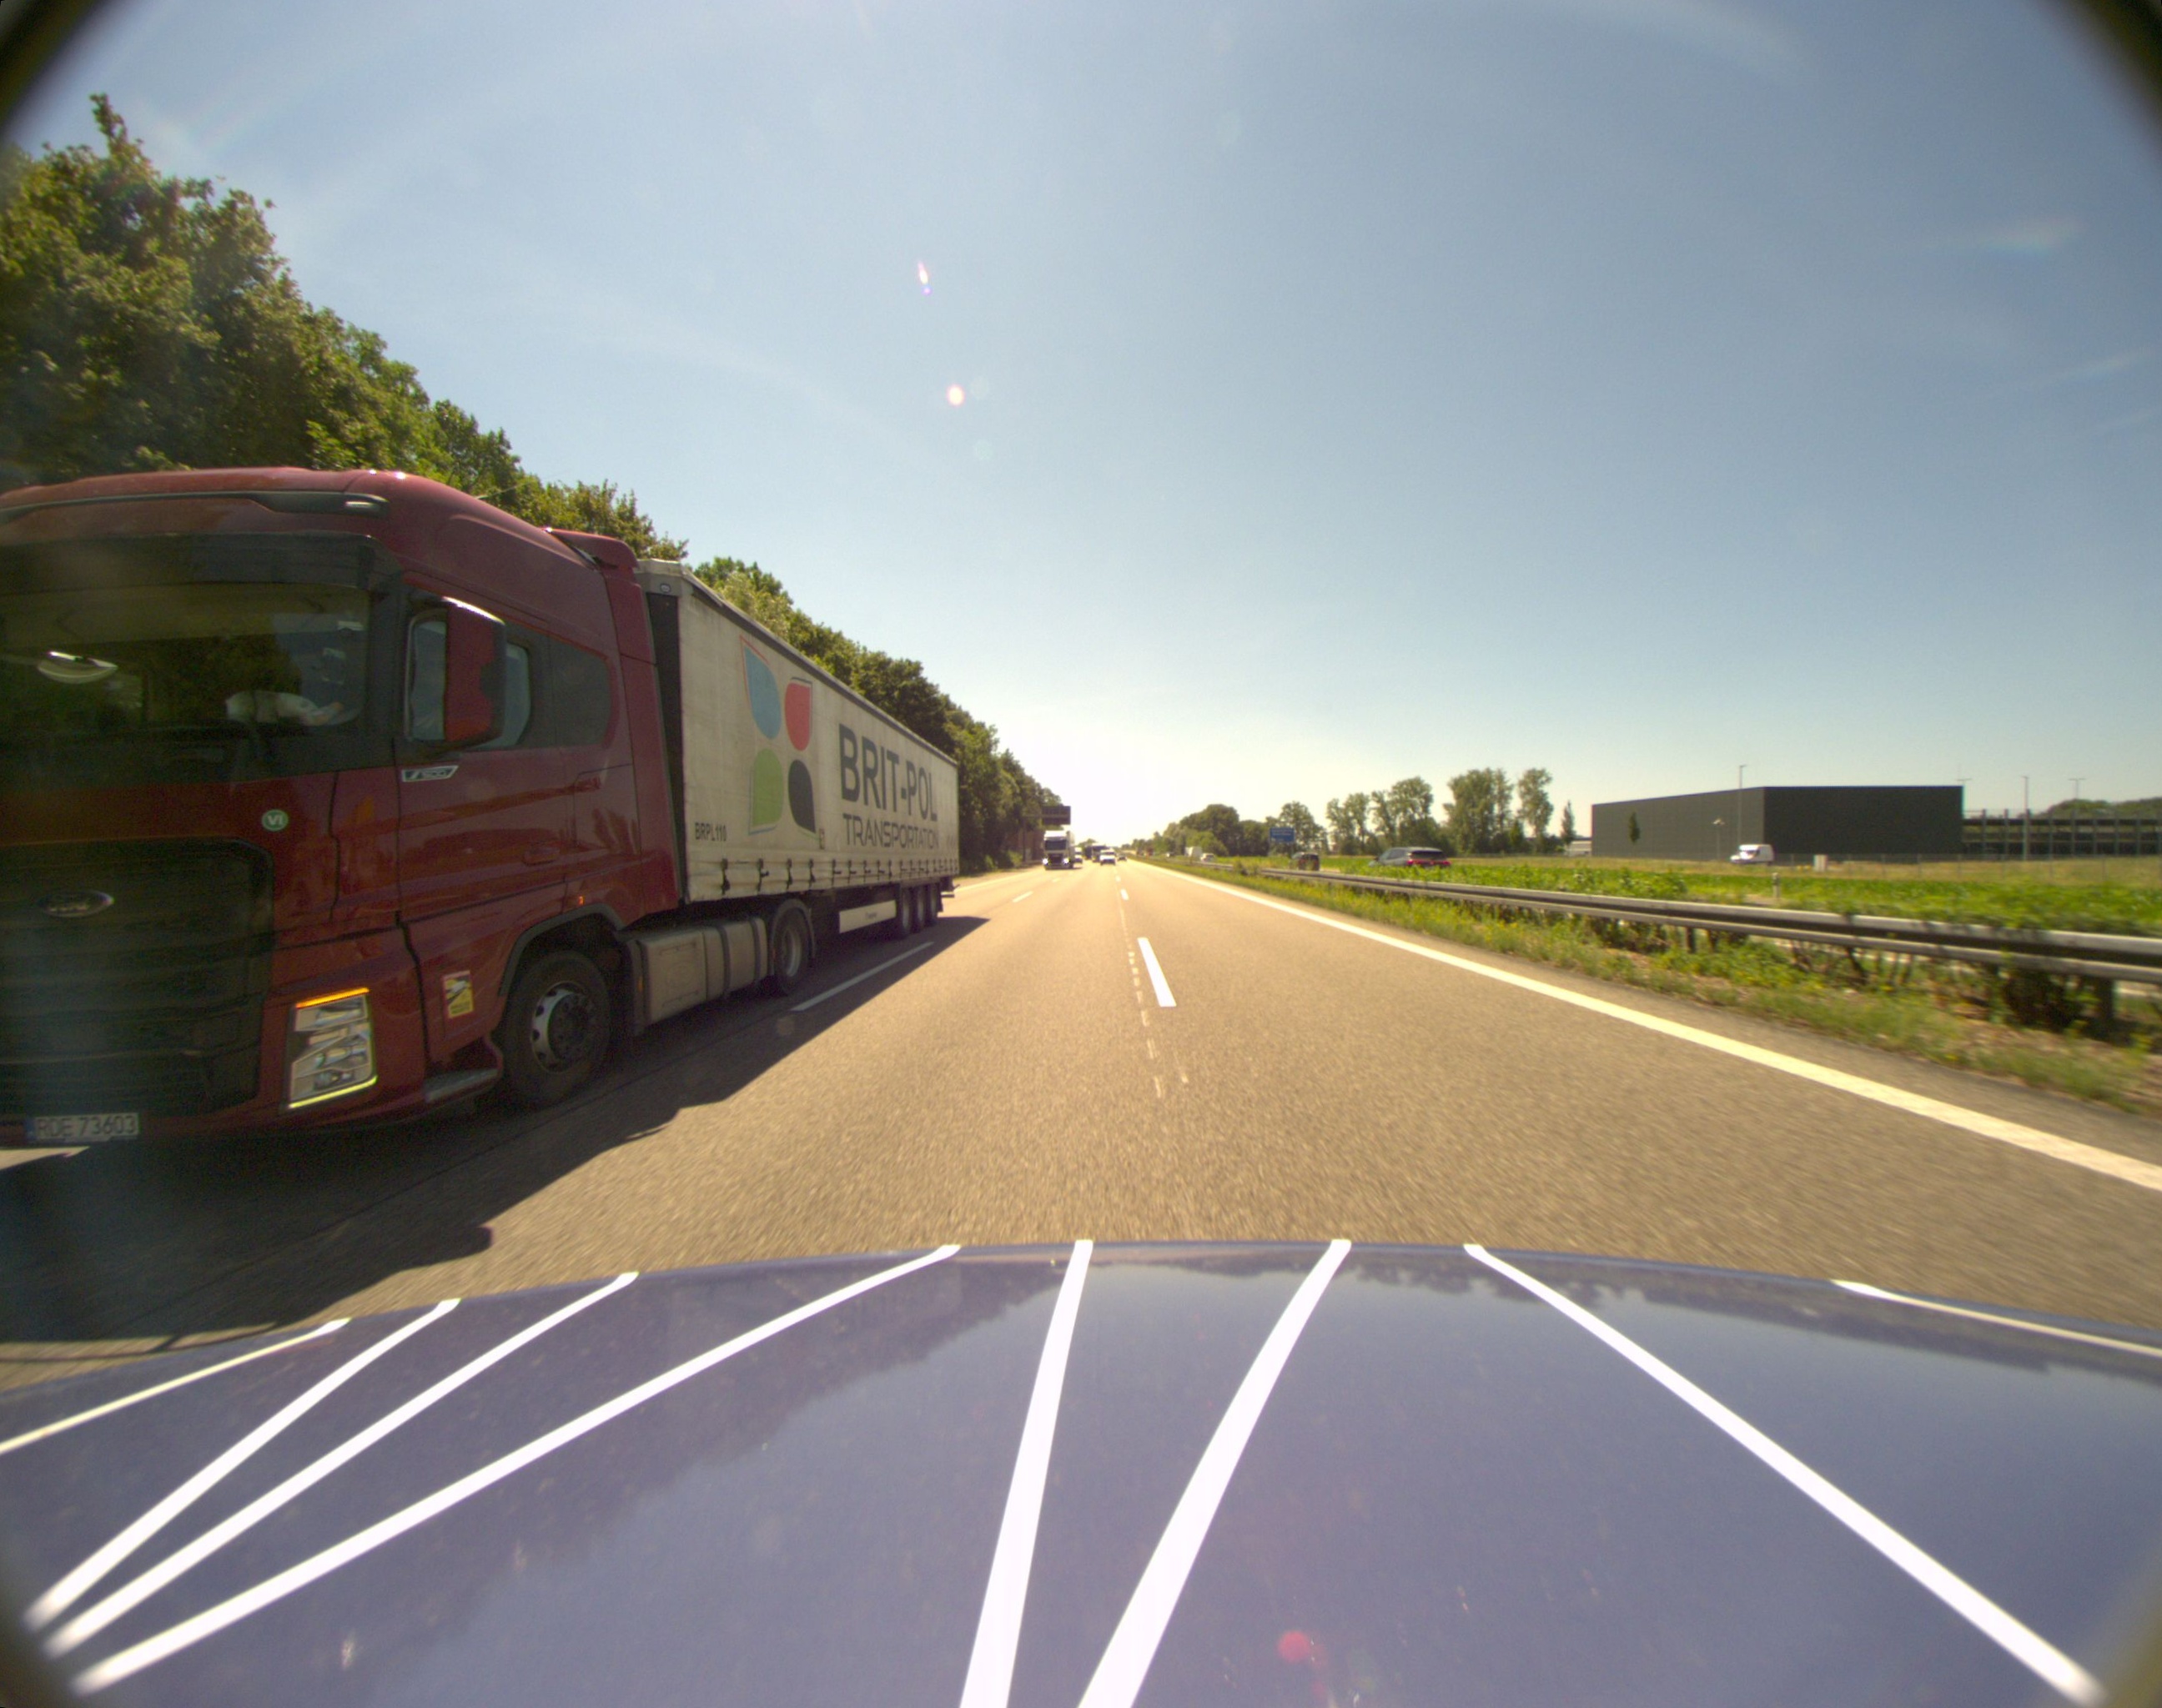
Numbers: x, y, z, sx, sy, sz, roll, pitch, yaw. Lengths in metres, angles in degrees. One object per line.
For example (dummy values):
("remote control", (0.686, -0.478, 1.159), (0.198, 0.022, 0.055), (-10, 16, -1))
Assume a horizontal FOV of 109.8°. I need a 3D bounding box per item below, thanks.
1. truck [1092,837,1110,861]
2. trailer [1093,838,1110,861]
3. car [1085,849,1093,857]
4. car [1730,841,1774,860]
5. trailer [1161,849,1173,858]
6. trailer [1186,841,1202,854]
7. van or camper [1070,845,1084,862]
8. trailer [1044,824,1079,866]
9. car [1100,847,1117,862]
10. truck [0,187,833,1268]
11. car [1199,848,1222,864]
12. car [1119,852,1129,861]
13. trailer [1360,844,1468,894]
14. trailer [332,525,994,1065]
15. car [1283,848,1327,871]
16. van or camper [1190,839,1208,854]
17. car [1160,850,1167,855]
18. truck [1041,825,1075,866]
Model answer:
("truck", (3.594, -0.871, 135.004), (2.896, 4.007, 6.870), (-2, 1, 2))
("trailer", (3.735, -0.929, 139.285), (2.927, 4.018, 7.317), (-2, 1, 2))
("car", (1.998, -0.373, 192.663), (1.998, 2.002, 4.868), (0, 0, 2))
("car", (77.145, -0.379, 87.383), (5.618, 2.165, 2.104), (0, 1, -30))
("trailer", (16.222, -0.122, 143.453), (1.998, 1.748, 4.857), (0, 0, 2))
("trailer", (27.425, -1.592, 184.755), (2.681, 3.219, 9.259), (-1, 1, 2))
("van or camper", (-0.646, -0.158, 122.926), (2.027, 2.622, 6.487), (-2, 1, 2))
("trailer", (-2.086, -0.973, 85.788), (3.001, 4.264, 13.418), (-2, 0, 2))
("car", (3.594, 0.020, 99.558), (2.146, 1.810, 5.267), (-1, 1, 2))
("truck", (-4.745, -0.486, 6.200), (3.094, 4.415, 6.053), (-2, 1, 2))
("car", (15.554, 0.232, 91.597), (2.050, 1.796, 5.418), (0, 0, 2))
("car", (8.292, 0.461, 147.038), (1.796, 1.696, 4.000), (0, 0, 2))
("trailer", (12.795, 0.531, 29.599), (1.949, 1.779, 5.237), (0, 0, 1))
("trailer", (-4.407, -0.539, 13.883), (3.113, 4.480, 14.897), (-2, 1, 3))
("car", (18.340, 0.406, 62.471), (2.322, 1.805, 5.351), (0, 0, 3))
("van or camper", (21.492, -1.389, 138.337), (2.427, 2.519, 6.176), (1, 1, 1))
("car", (27.595, -0.395, 255.606), (1.998, 1.630, 5.664), (1, 0, 2))
("truck", (-2.328, -0.878, 78.472), (3.010, 4.101, 5.253), (-1, 1, 2))
